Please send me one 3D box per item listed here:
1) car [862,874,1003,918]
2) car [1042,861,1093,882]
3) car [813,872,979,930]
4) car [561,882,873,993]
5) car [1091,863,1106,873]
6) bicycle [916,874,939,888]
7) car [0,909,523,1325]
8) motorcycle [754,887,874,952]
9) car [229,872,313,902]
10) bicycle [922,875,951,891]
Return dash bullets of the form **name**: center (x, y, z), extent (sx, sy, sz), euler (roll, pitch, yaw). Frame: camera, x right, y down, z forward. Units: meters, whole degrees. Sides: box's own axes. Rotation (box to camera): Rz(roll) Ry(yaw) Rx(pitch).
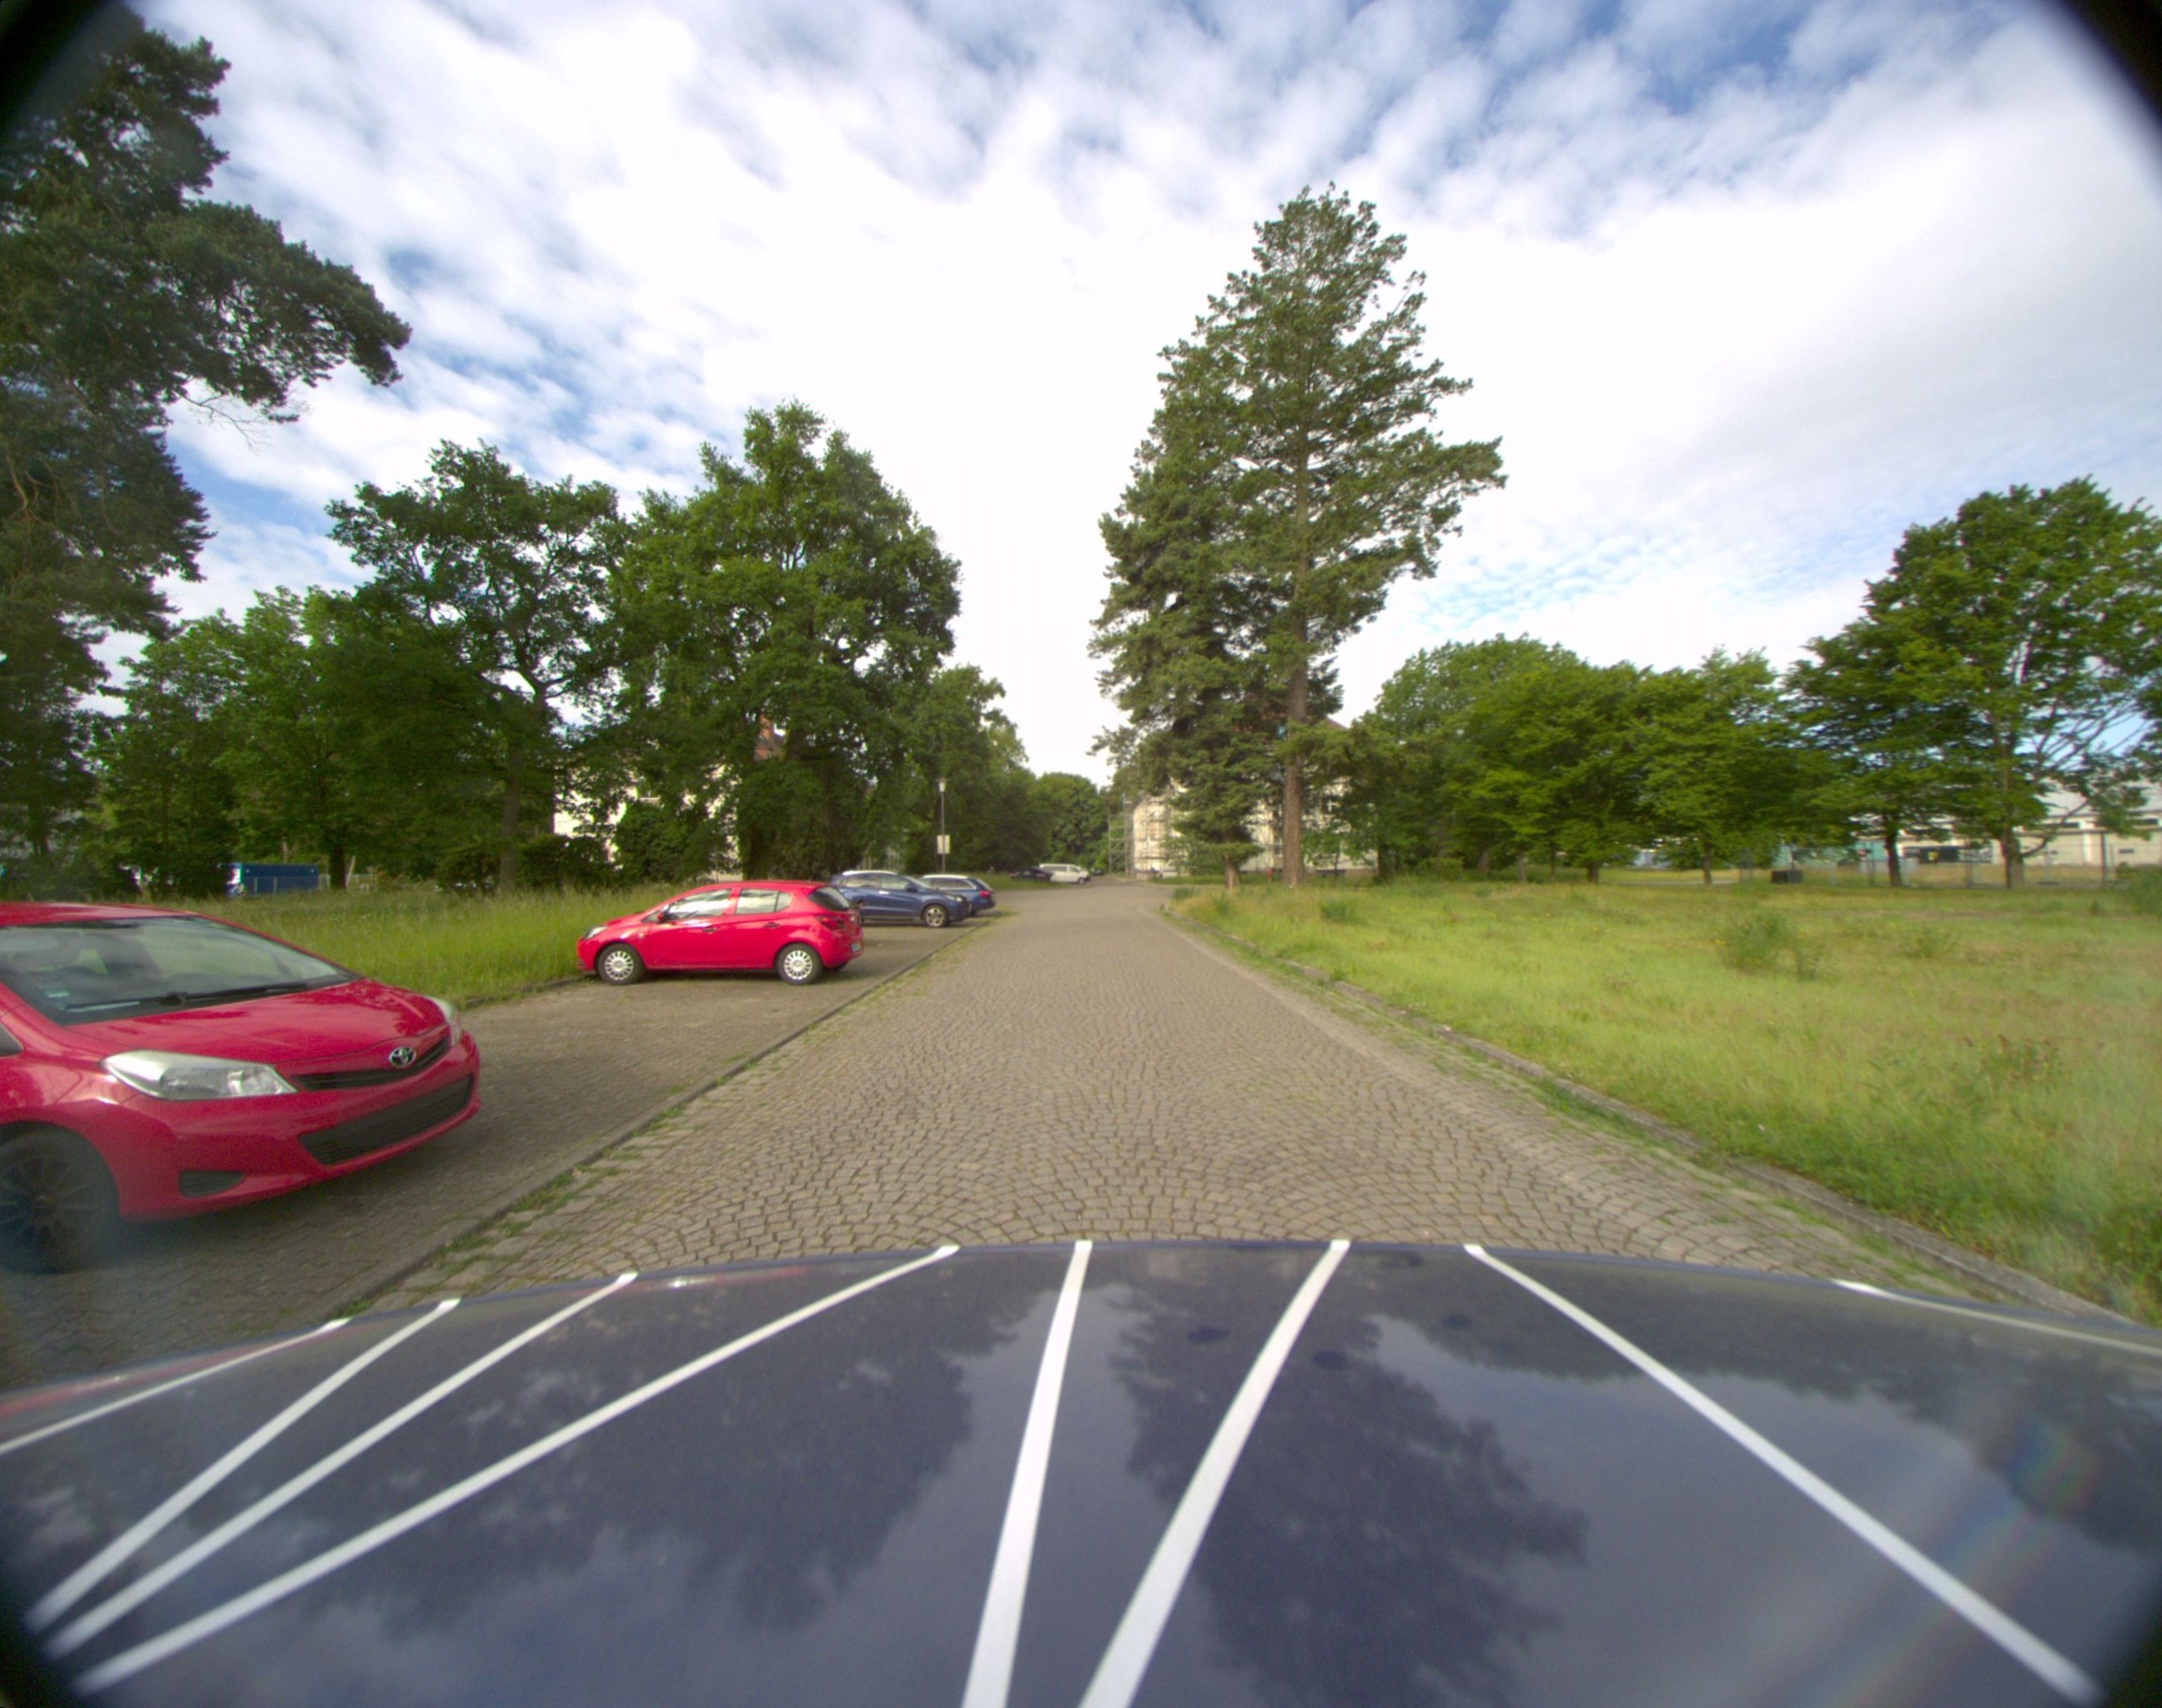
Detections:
- **car**: center (-5.107, 1.433, 26.519), extent (4.515, 1.456, 1.896), euler (0, -1, 3)
- **car**: center (-1.378, 1.705, 75.252), extent (4.916, 1.982, 2.000), euler (-1, -1, -3)
- **car**: center (-5.182, 1.311, 21.739), extent (4.274, 1.564, 1.895), euler (0, -1, -1)
- **car**: center (-5.289, 1.189, 11.431), extent (3.849, 1.496, 1.738), euler (0, -1, -1)
- **car**: center (3.299, 2.646, 141.797), extent (2.029, 1.915, 3.997), euler (-1, -1, -11)
- **bicycle**: center (-12.378, 2.165, 61.146), extent (1.753, 1.082, 0.552), euler (0, 2, -22)
- **car**: center (-5.468, 1.117, 3.826), extent (3.997, 1.509, 1.738), euler (-1, -1, 0)
- **motorcycle**: center (-5.530, 1.356, 15.856), extent (2.271, 1.267, 0.605), euler (0, 0, -5)
- **car**: center (-60.486, 2.401, 56.866), extent (1.784, 2.002, 4.084), euler (-2, 0, 1)
- **bicycle**: center (-10.459, 2.086, 54.895), extent (2.020, 1.082, 0.478), euler (0, 2, -22)
